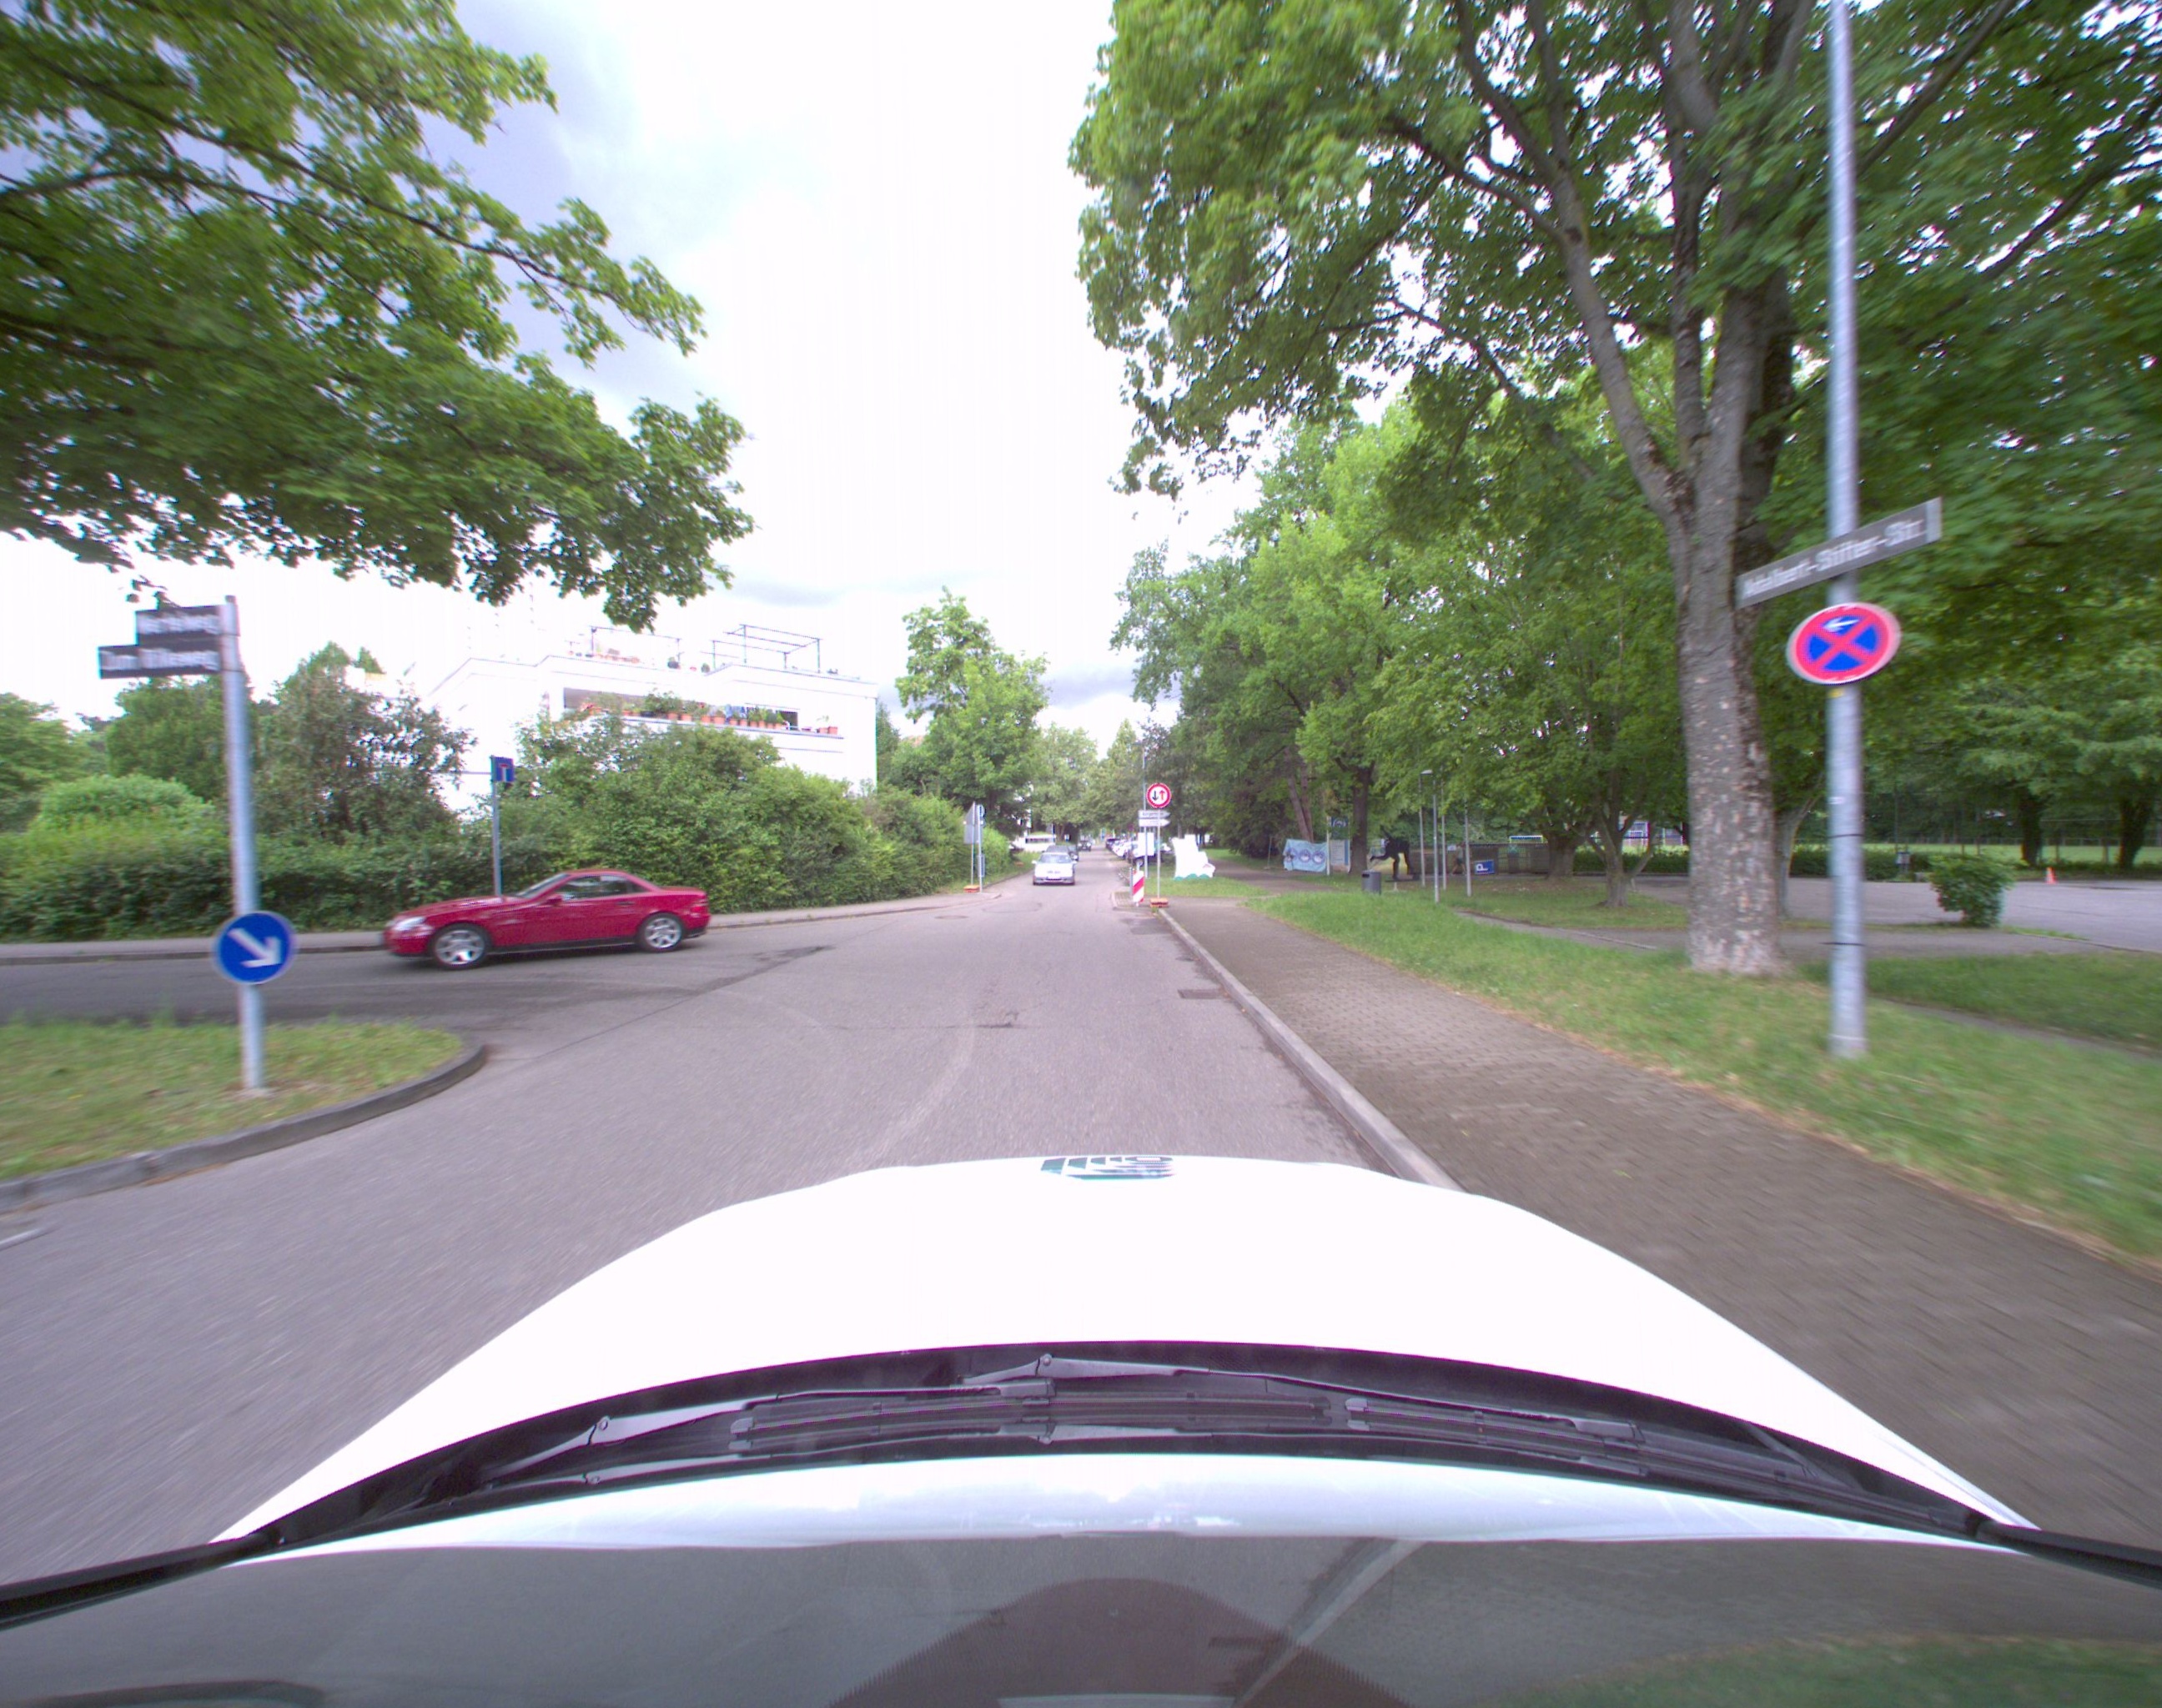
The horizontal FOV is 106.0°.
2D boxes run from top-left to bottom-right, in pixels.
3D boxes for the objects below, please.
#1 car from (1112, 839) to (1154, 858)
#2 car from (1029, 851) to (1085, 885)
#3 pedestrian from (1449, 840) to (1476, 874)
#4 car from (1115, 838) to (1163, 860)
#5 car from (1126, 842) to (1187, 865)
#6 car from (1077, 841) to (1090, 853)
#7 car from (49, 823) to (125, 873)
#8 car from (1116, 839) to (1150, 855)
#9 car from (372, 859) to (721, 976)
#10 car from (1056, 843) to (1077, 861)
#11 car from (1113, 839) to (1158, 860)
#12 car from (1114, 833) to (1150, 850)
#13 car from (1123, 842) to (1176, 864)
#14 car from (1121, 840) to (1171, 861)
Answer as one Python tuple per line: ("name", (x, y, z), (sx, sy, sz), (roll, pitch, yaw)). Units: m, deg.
("car", (5.406, -0.588, 84.668), (4.054, 1.687, 1.821), (-5, 1, -3))
("car", (-0.950, 0.556, 34.623), (1.772, 1.306, 4.303), (-1, 1, 6))
("pedestrian", (19.606, 0.139, 41.848), (1.137, 1.674, 0.798), (-3, -1, 26))
("car", (5.309, -0.469, 74.843), (4.054, 1.687, 1.821), (-5, 1, -3))
("car", (5.289, -0.008, 57.285), (4.050, 1.434, 2.000), (-2, -1, 0))
("car", (0.326, -1.099, 127.256), (1.962, 1.747, 4.338), (-1, 1, 0))
("car", (-65.913, -0.338, 54.106), (2.467, 2.999, 6.786), (-1, -1, -45))
("car", (6.635, -0.907, 104.349), (4.054, 1.687, 1.821), (-5, 1, -3))
("car", (-7.719, 0.790, 11.990), (4.087, 1.335, 1.735), (-1, 1, -41))
("car", (-1.279, -0.195, 74.744), (1.797, 1.591, 4.296), (-1, 1, 1))
("car", (5.247, -0.477, 78.993), (4.054, 1.687, 1.821), (-5, 1, -3))
("car", (6.164, -1.544, 98.214), (4.054, 1.687, 1.821), (-5, 1, -3))
("car", (5.416, -0.122, 64.906), (4.050, 1.568, 1.822), (-2, 1, 0))
("car", (5.555, -0.288, 69.794), (4.054, 1.488, 1.821), (-5, 1, -3))
